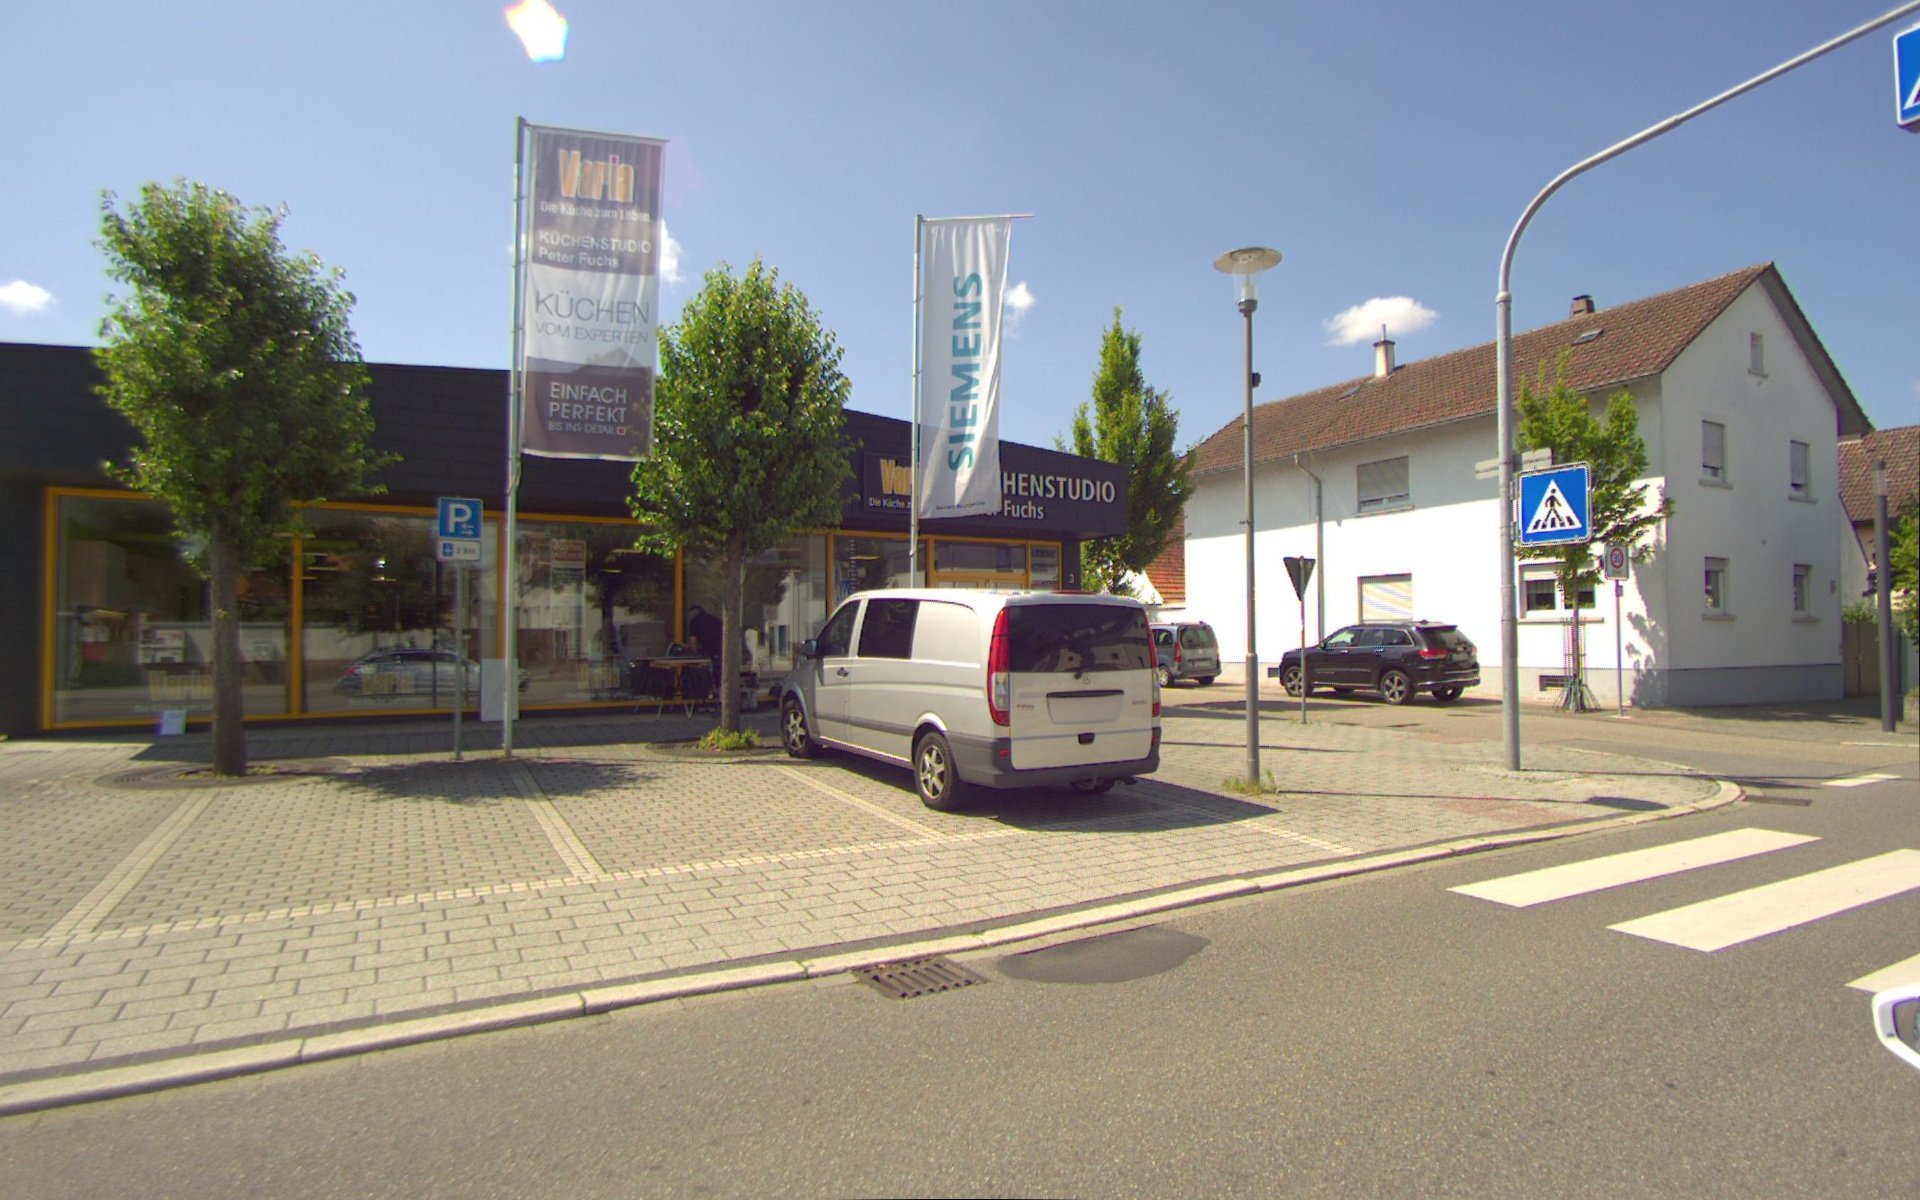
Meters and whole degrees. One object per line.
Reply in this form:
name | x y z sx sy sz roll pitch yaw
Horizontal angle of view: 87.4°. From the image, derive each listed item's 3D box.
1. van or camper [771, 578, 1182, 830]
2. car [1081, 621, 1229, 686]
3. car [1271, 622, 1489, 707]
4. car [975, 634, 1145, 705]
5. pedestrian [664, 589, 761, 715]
van or camper | -0.152 0.799 10.069 1.977 1.887 4.717 1 -1 -30
car | 5.751 1.528 30.151 1.976 1.763 4.405 0 -1 -29
car | 9.582 1.395 23.309 1.976 1.738 4.405 0 -1 -29
car | 2.247 1.568 23.771 1.845 1.482 4.405 2 -2 -29
pedestrian | -3.705 0.772 15.080 1.050 1.798 0.934 0 -2 23
